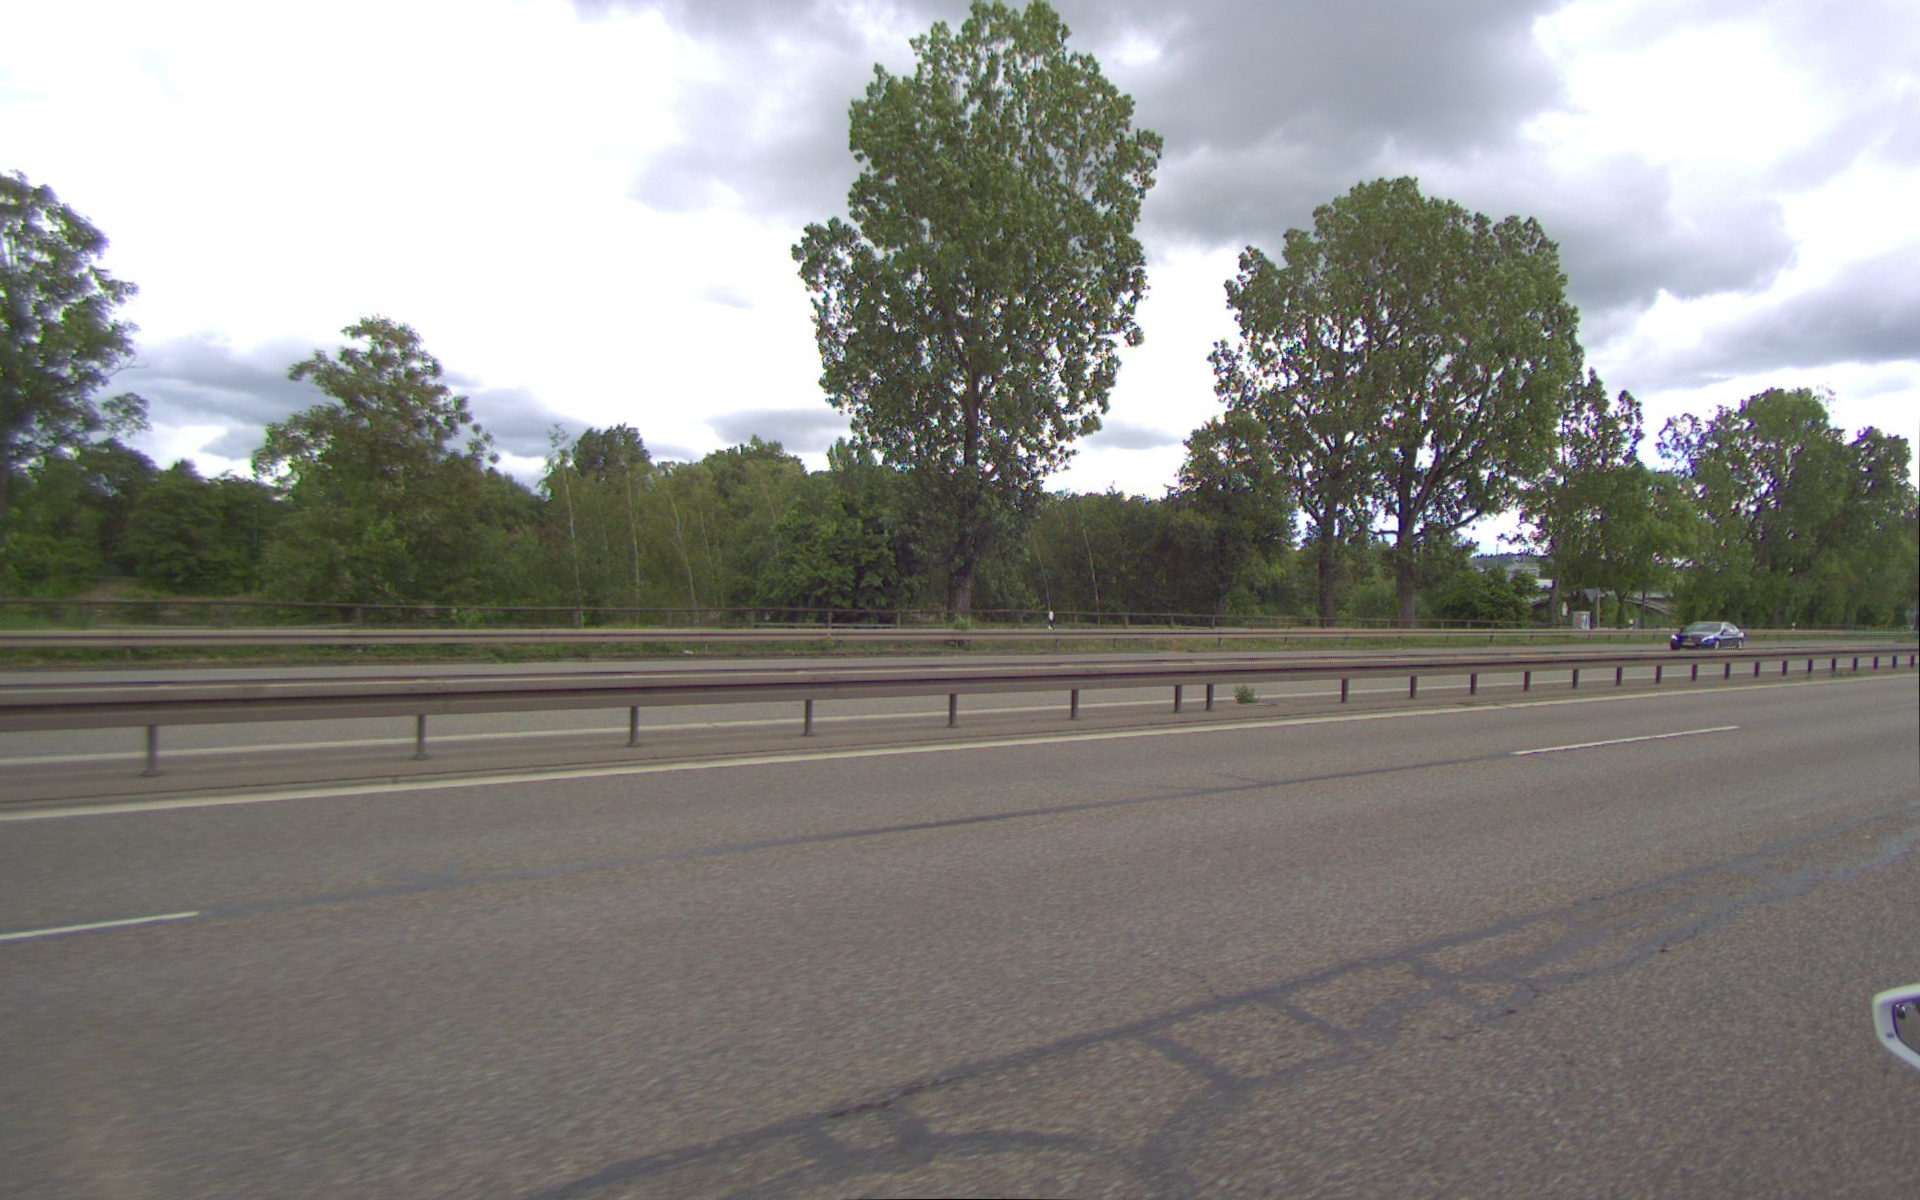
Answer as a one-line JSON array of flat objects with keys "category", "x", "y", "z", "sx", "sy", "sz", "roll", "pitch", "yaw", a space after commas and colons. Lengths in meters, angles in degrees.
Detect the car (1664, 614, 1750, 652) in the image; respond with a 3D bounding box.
[{"category": "car", "x": 35.446, "y": 1.525, "z": 47.607, "sx": 4.605, "sy": 1.630, "sz": 1.979, "roll": 1, "pitch": 1, "yaw": -36}]
